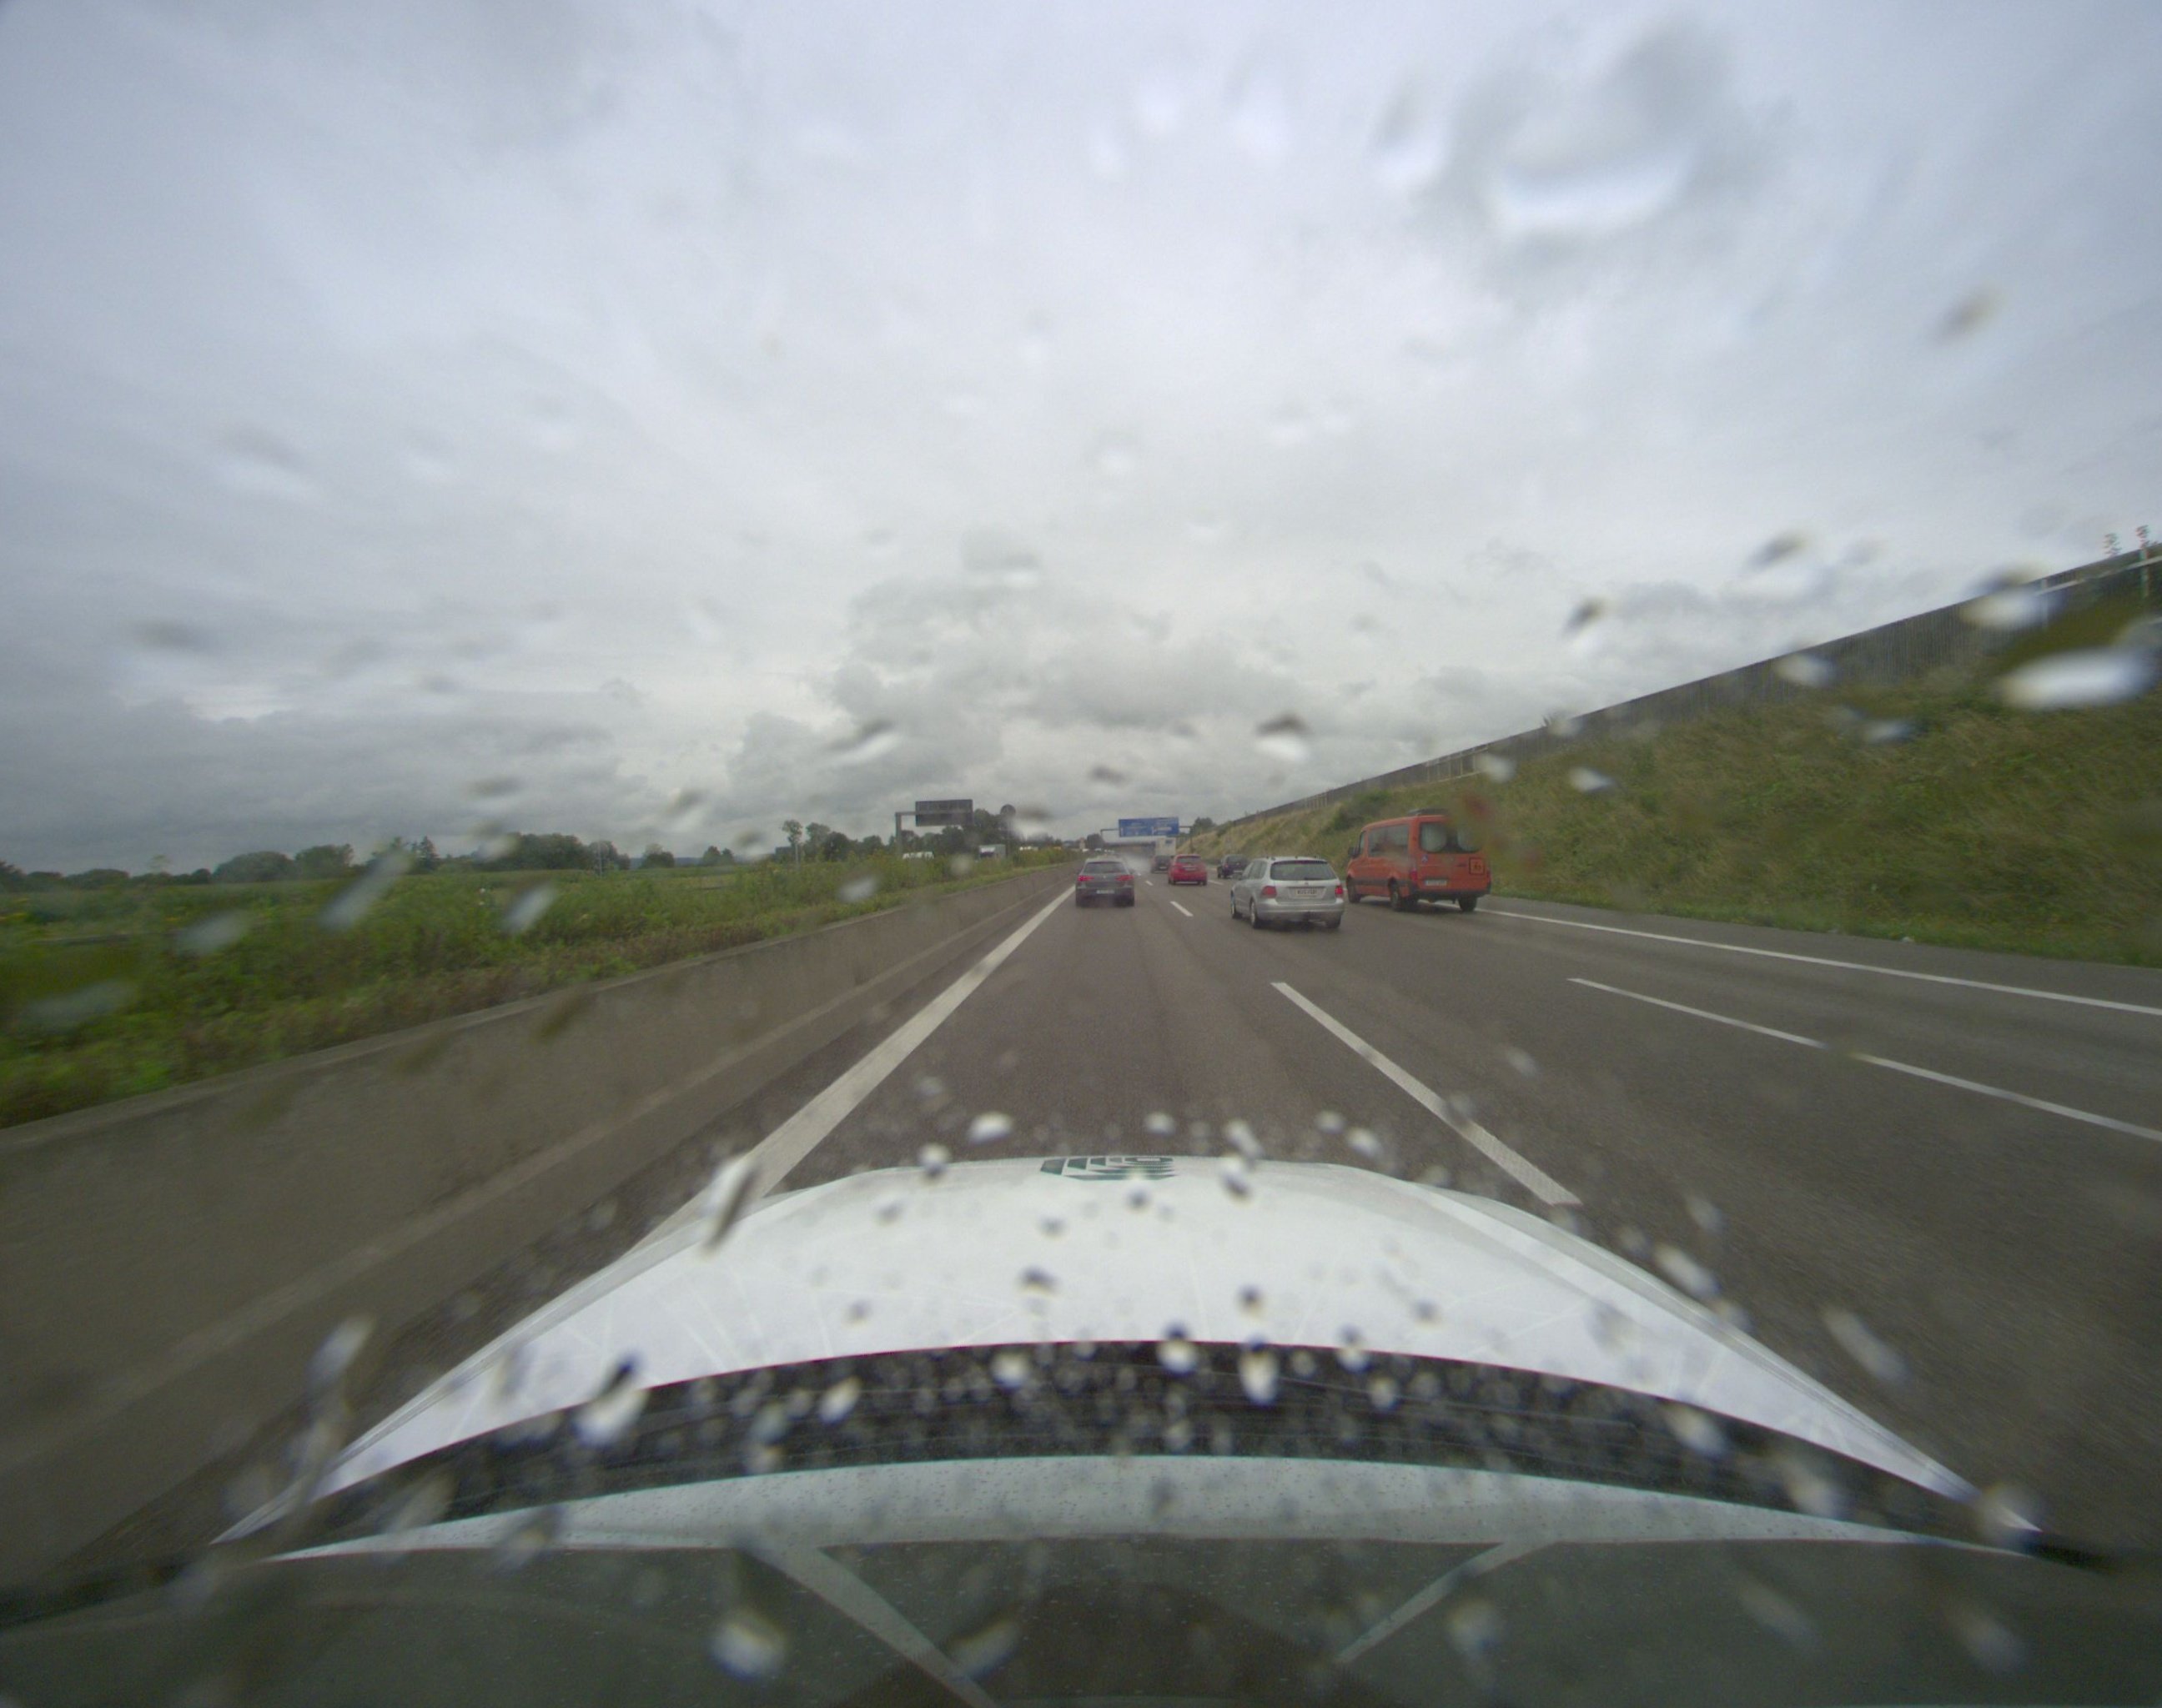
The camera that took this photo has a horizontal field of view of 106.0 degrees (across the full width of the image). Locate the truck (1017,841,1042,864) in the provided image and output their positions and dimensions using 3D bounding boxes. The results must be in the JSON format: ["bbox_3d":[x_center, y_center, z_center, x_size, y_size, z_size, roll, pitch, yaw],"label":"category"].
[{"bbox_3d":[-9.322,-0.276,148.552,3.169,3.967,10.822,-1,0,4],"label":"truck"}]

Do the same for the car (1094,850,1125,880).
[{"bbox_3d":[1.744,0.645,49.013,1.747,1.750,4.003,0,0,3],"label":"car"}]

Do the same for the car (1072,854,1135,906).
[{"bbox_3d":[0.710,0.745,24.940,1.761,1.467,4.002,0,0,2],"label":"car"}]

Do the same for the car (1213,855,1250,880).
[{"bbox_3d":[8.941,0.774,48.634,1.695,1.401,3.878,0,0,3],"label":"car"}]

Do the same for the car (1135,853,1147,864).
[{"bbox_3d":[9.656,0.723,131.215,1.839,1.687,4.001,0,0,2],"label":"car"}]

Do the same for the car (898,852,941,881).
[{"bbox_3d":[-14.818,1.084,75.059,2.236,2.530,6.910,0,0,2],"label":"car"}]

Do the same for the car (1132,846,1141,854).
[{"bbox_3d":[14.609,-1.064,214.476,1.987,2.013,4.000,-2,0,0],"label":"car"}]

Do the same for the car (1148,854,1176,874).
[{"bbox_3d":[6.385,0.760,64.666,1.913,1.522,4.626,-1,0,3],"label":"car"}]

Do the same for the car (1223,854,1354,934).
[{"bbox_3d":[4.280,0.753,17.503,1.735,1.425,4.518,-2,0,2],"label":"car"}]

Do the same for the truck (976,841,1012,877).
[{"bbox_3d":[-11.742,0.704,110.832,3.212,4.649,9.681,0,0,3],"label":"truck"}]

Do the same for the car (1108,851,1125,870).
[{"bbox_3d":[3.629,0.634,83.670,1.698,1.796,3.857,-3,0,2],"label":"car"}]

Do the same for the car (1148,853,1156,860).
[{"bbox_3d":[19.292,0.571,221.570,1.987,1.860,4.391,-2,0,1],"label":"car"}]

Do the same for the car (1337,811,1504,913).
[{"bbox_3d":[8.836,0.181,21.961,2.078,2.315,6.184,-1,0,2],"label":"car"}]

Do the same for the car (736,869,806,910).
[{"bbox_3d":[-15.306,1.706,40.441,1.792,1.774,3.863,-3,0,2],"label":"car"}]

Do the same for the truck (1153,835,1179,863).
[{"bbox_3d":[13.964,-0.744,135.531,3.270,4.295,19.045,0,0,3],"label":"truck"}]

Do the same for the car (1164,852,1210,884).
[{"bbox_3d":[5.219,0.632,40.593,1.883,1.446,4.688,-1,0,3],"label":"car"}]
